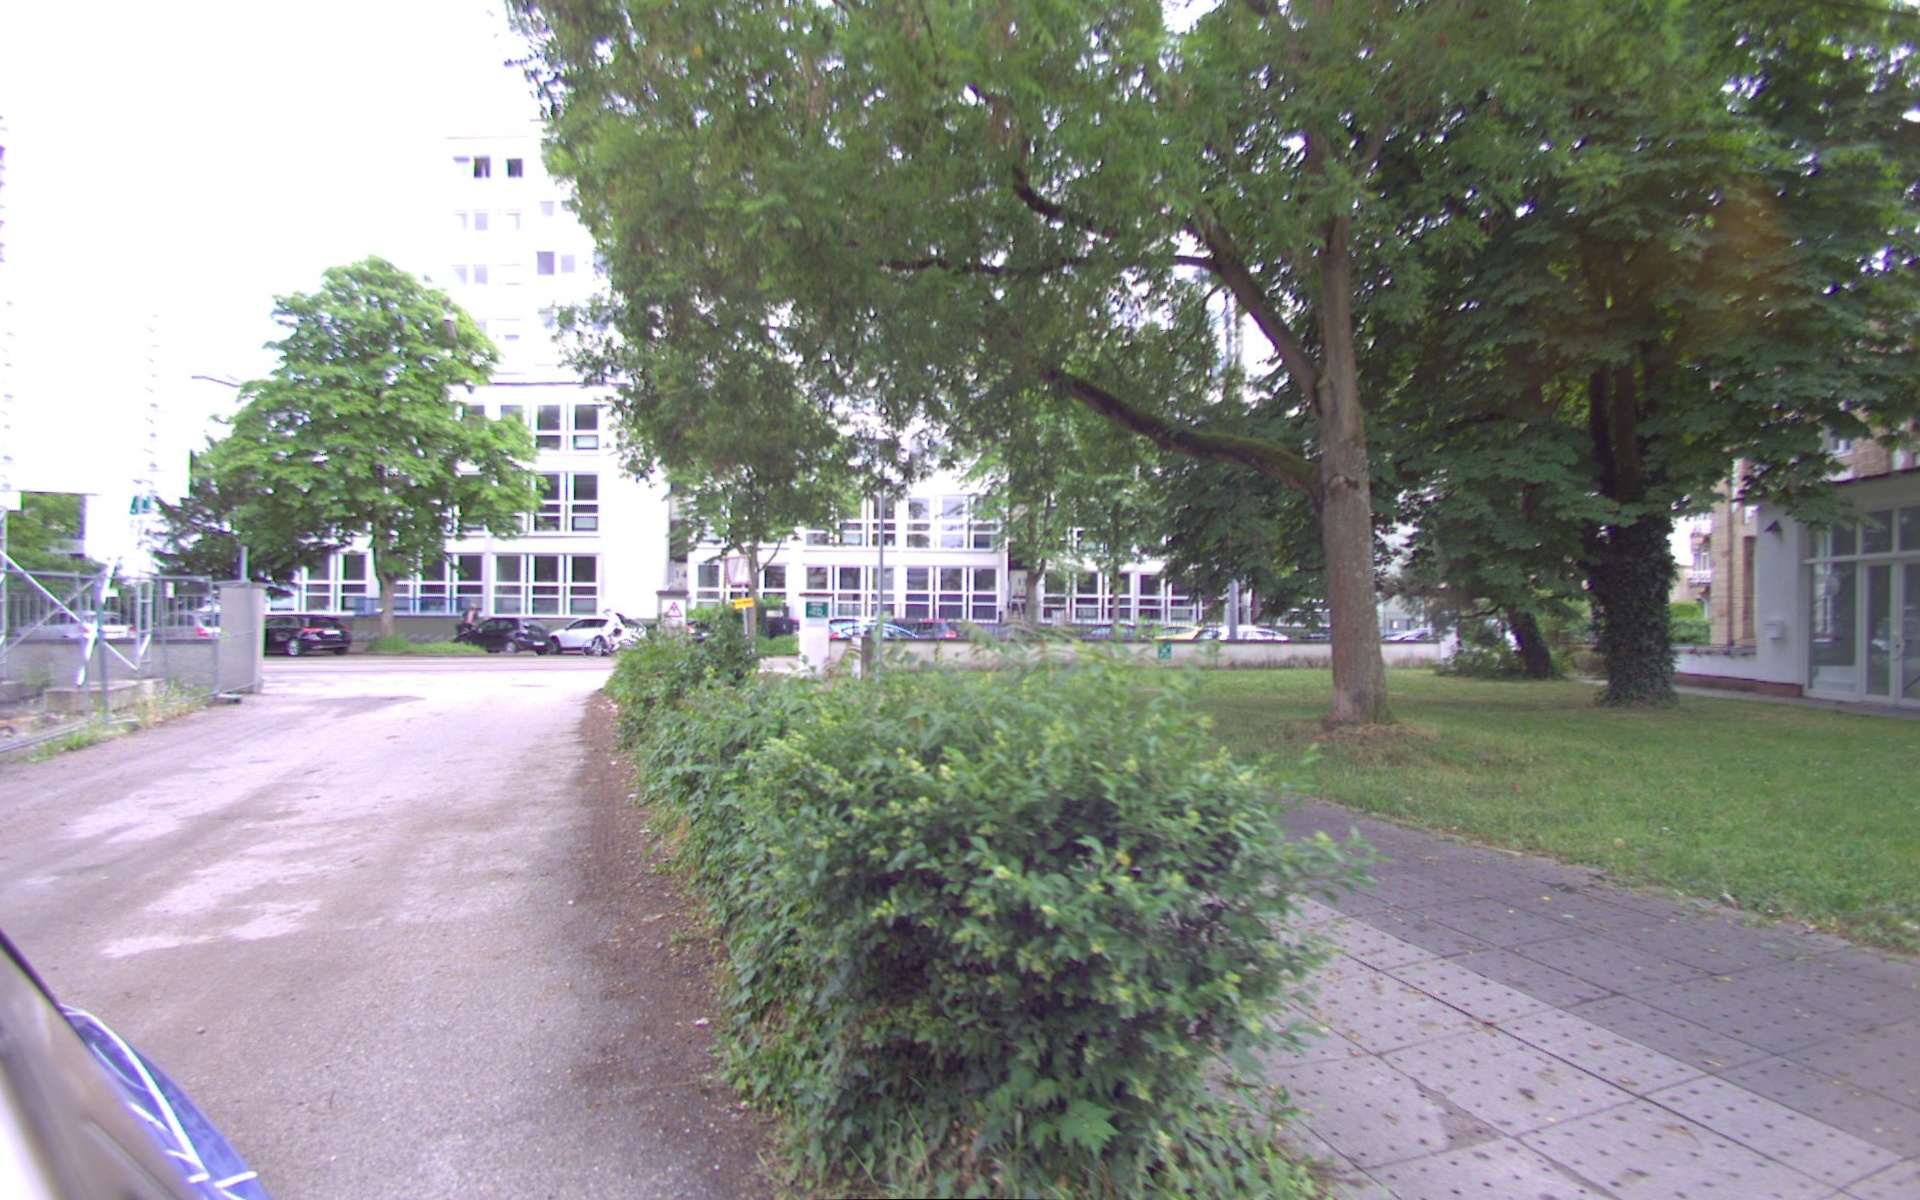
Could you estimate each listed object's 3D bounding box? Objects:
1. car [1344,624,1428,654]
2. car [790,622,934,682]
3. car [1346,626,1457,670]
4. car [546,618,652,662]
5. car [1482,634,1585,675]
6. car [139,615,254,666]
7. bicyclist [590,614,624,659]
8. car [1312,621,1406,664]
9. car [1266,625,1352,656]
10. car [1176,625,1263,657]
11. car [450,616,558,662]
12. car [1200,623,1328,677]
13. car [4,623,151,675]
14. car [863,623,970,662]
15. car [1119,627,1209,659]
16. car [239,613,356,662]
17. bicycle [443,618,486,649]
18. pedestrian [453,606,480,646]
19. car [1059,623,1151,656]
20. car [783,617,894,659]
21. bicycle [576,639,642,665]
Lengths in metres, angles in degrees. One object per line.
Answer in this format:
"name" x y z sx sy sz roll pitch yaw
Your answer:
"car" 22.341 2.036 53.186 3.722 1.396 1.675 1 0 45
"car" -2.561 1.328 26.287 3.373 1.472 1.685 1 -3 -22
"car" 14.003 1.493 32.085 3.123 1.312 1.519 1 -1 -24
"car" -13.903 1.497 38.941 4.014 1.495 1.682 1 0 31
"car" 19.635 1.846 34.647 3.123 1.312 1.519 1 -1 -24
"car" -25.655 1.331 34.006 3.630 1.535 1.560 1 0 25
"bicyclist" -12.216 1.262 35.013 1.009 1.512 0.849 1 -2 -25
"car" 20.448 2.158 51.929 4.000 2.029 1.972 1 -1 43
"car" 17.533 2.012 50.841 3.944 1.362 1.686 1 0 24
"car" 12.687 1.995 49.477 3.944 1.362 1.686 1 0 24
"car" -17.095 1.426 37.905 3.684 1.535 1.686 1 0 25
"car" 9.116 1.484 30.344 3.503 1.492 1.485 1 0 -22
"car" -28.851 1.559 33.085 4.402 1.476 1.790 1 -1 22
"car" -1.871 1.798 43.467 4.320 1.465 1.686 1 0 24
"car" 9.775 2.032 48.522 3.944 1.362 1.686 1 0 24
"car" -22.875 1.249 34.919 3.684 1.535 1.686 1 0 25
"bicycle" -20.813 1.402 42.526 1.569 1.278 0.407 1 -2 -12
"pedestrian" -20.905 1.093 42.873 0.745 1.623 0.734 2 0 0
"car" 6.798 1.824 47.375 3.944 1.362 1.686 1 0 24
"car" -5.114 1.574 42.591 4.314 1.567 1.688 1 0 20
"bicycle" -12.135 1.789 35.040 2.101 0.875 0.472 1 -2 -27
